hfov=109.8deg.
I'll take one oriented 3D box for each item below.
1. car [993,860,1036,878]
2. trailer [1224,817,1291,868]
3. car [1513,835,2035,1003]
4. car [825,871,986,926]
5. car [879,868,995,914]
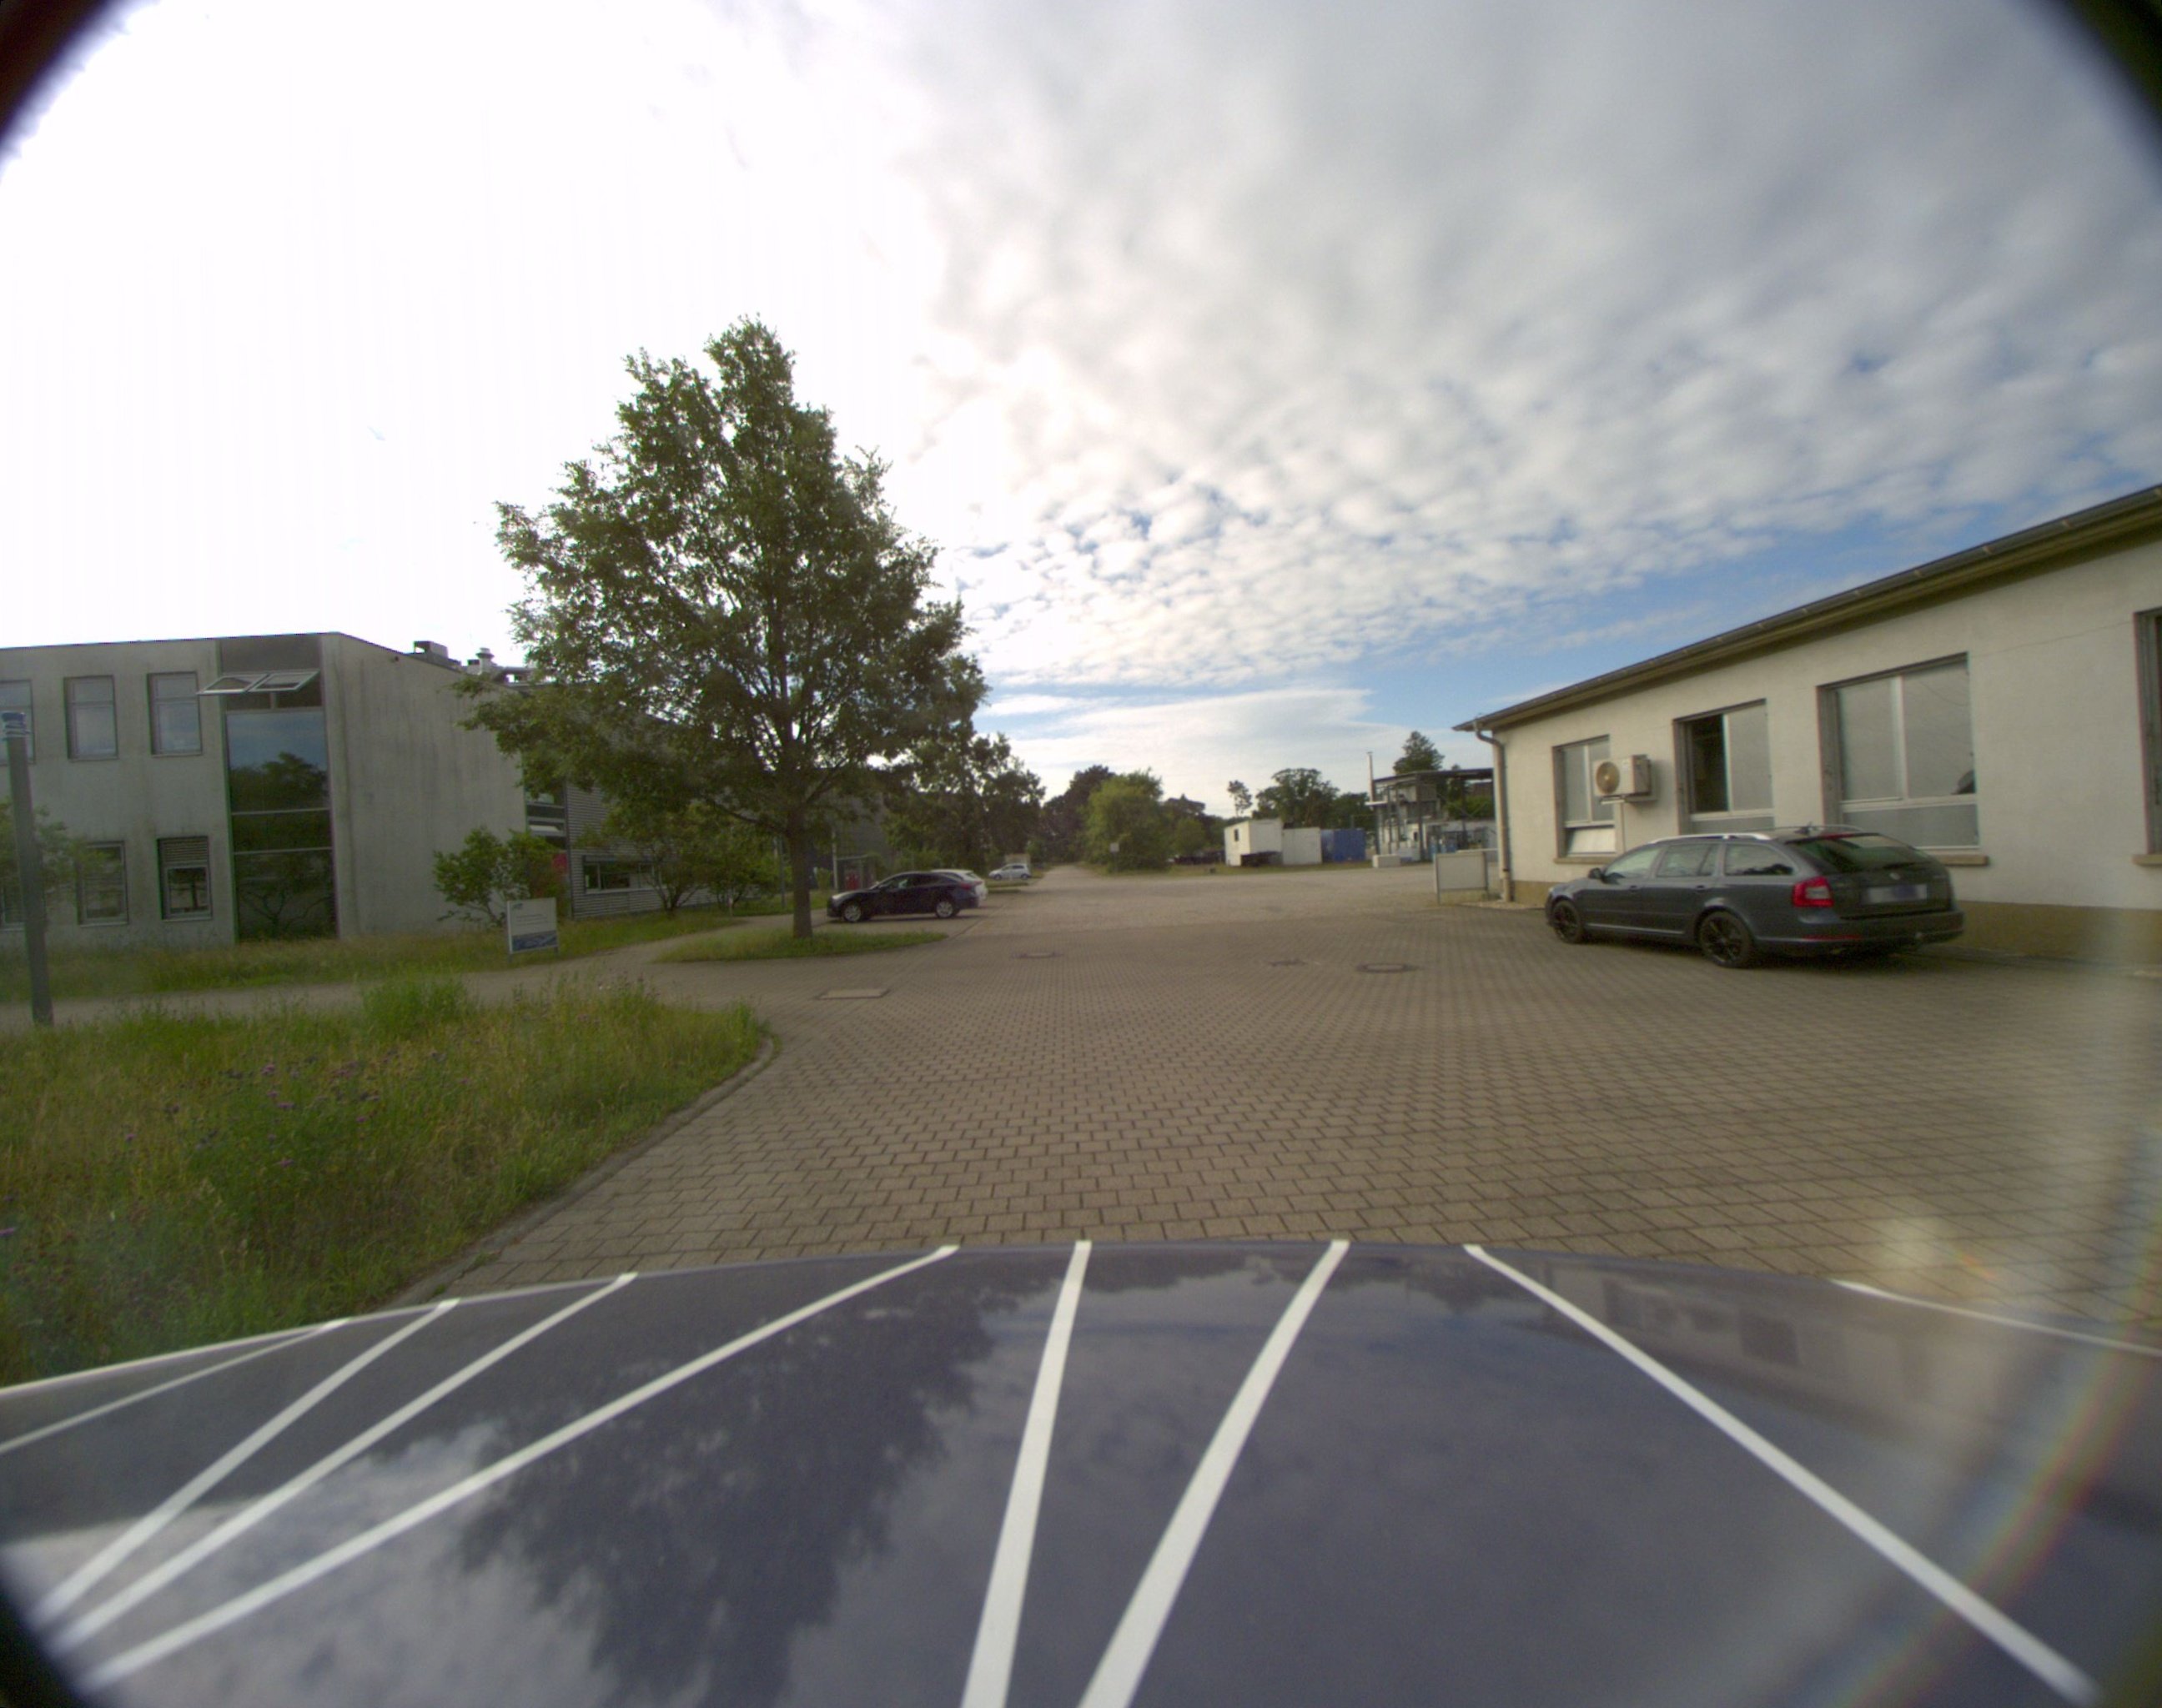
[{"bbox_3d":[-6.532,1.476,74.786,4.132,1.615,1.938,-1,0,-4],"label":"car"},{"bbox_3d":[14.061,-0.836,61.495,2.876,3.640,10.778,-3,0,1],"label":"trailer"},{"bbox_3d":[7.815,0.624,9.458,1.930,1.452,4.810,-3,0,-2],"label":"car"},{"bbox_3d":[-5.285,1.331,23.371,4.475,1.438,1.944,-2,0,-2],"label":"car"},{"bbox_3d":[-5.343,1.367,28.668,3.986,1.458,1.882,-3,0,-2],"label":"car"}]
